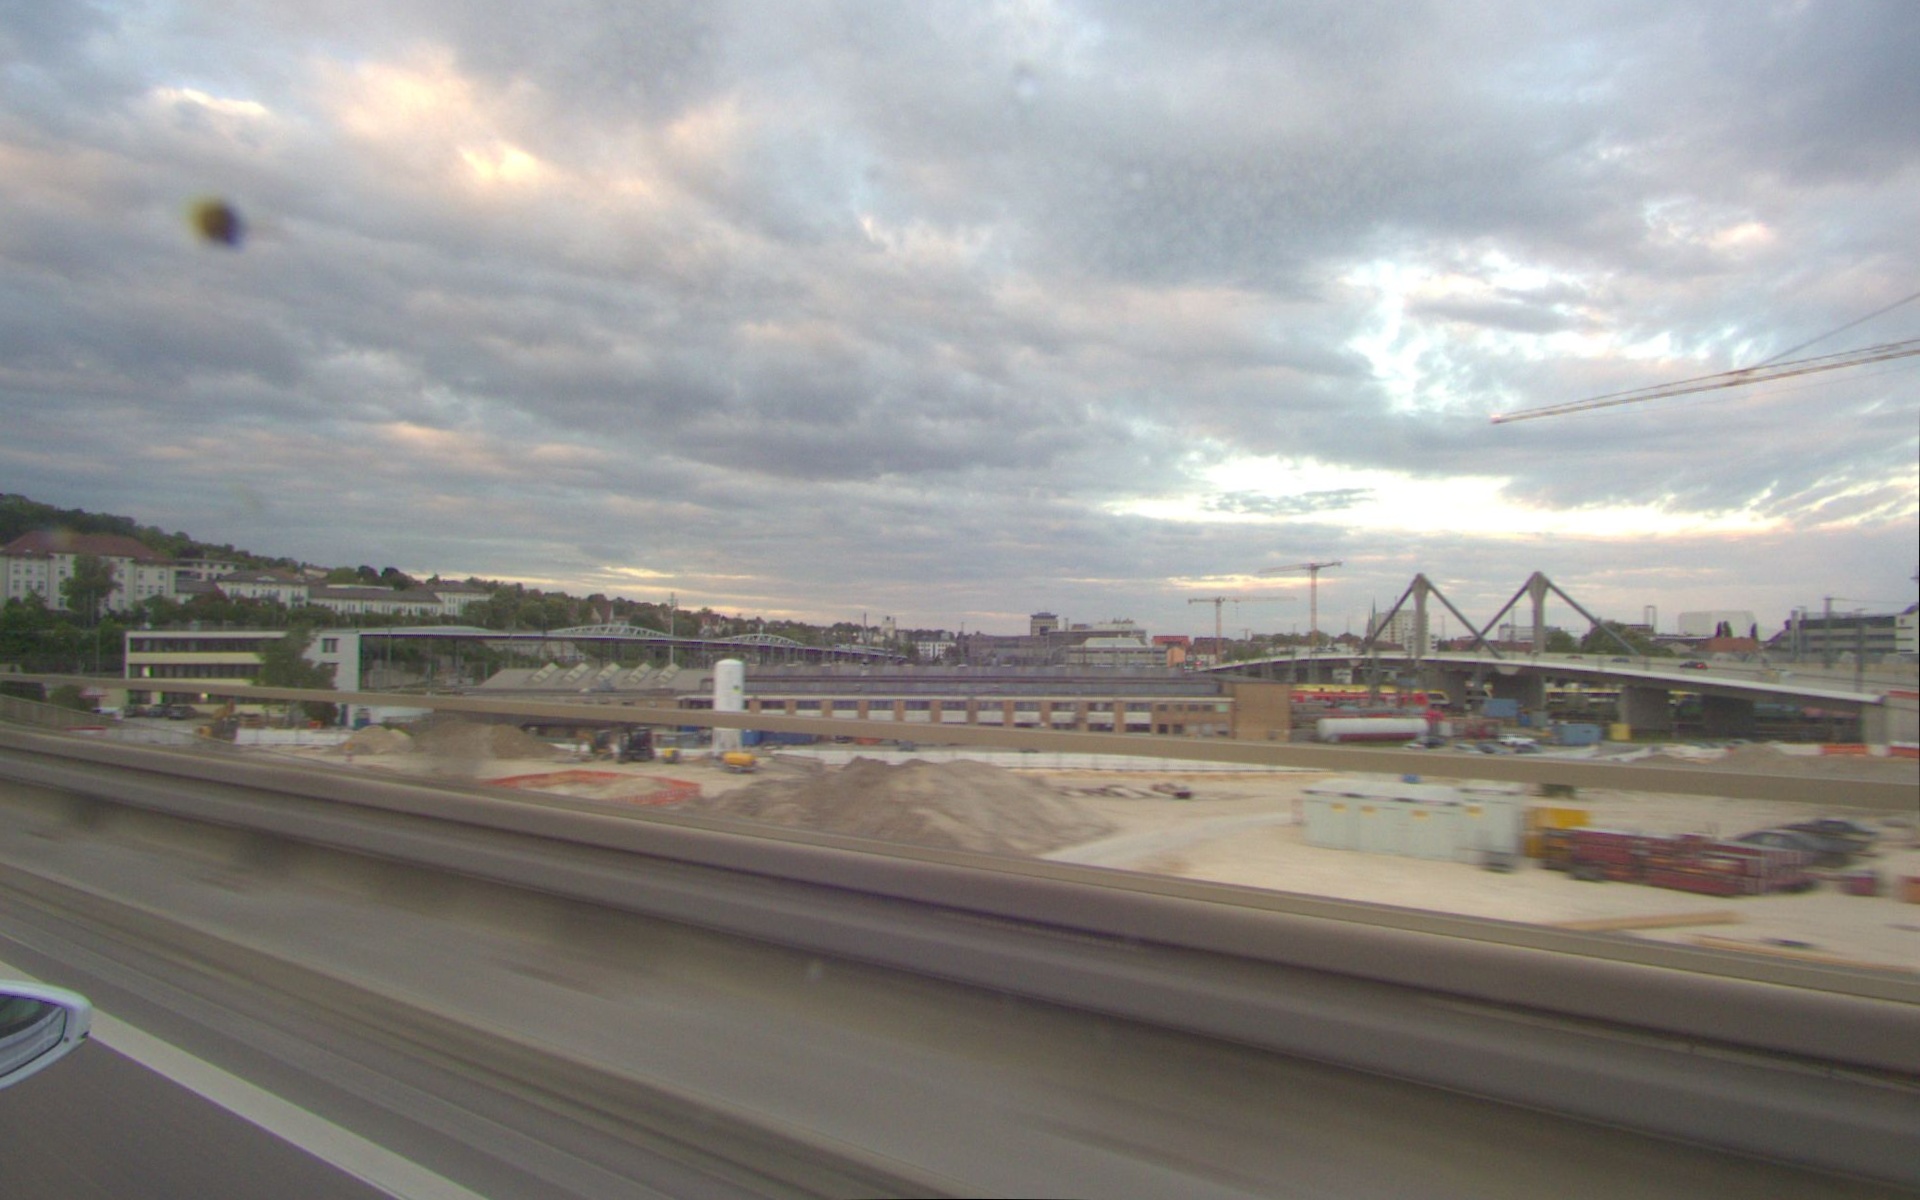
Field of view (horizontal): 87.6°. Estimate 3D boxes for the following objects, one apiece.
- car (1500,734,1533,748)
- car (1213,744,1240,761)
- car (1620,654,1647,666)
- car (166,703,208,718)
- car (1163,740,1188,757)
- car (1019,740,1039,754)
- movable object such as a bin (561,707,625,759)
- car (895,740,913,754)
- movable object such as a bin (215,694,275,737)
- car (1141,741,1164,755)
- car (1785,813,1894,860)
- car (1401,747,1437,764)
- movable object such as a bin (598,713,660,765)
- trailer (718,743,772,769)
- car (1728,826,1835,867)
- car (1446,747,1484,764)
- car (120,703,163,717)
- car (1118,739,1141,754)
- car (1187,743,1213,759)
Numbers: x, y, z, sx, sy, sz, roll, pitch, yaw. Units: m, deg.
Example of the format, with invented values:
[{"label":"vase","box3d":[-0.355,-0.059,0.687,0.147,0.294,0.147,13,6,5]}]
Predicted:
[{"label":"car","box3d":[71.389,18.064,128.380,3.618,1.593,1.441,5,-7,-10]},{"label":"car","box3d":[30.420,17.394,114.317,1.835,1.669,4.009,4,-7,-1]},{"label":"car","box3d":[120.089,10.744,178.560,1.743,1.762,3.998,3,0,-4]},{"label":"car","box3d":[-92.155,13.207,119.448,1.796,1.583,4.006,5,-6,-3]},{"label":"car","box3d":[24.808,17.091,115.308,1.835,1.733,4.009,4,-7,-1]},{"label":"car","box3d":[7.977,17.042,116.028,1.835,1.435,4.009,4,-7,-1]},{"label":"movable object such as a bin","box3d":[-33.263,12.135,91.052,2.733,4.356,4.964,1,-7,16]},{"label":"car","box3d":[-6.489,17.089,116.692,1.835,1.435,4.009,4,-7,-1]},{"label":"movable object such as a bin","box3d":[-80.153,12.957,112.293,4.868,4.356,2.787,1,-7,19]},{"label":"car","box3d":[22.161,17.067,115.284,1.835,1.435,4.009,4,-7,-1]},{"label":"car","box3d":[46.515,12.482,53.055,1.663,1.942,3.984,8,-8,-29]},{"label":"car","box3d":[52.431,17.755,114.387,1.835,1.539,4.349,0,-4,-5]},{"label":"movable object such as a bin","box3d":[-29.735,12.557,90.193,2.733,4.356,4.964,1,-7,16]},{"label":"trailer","box3d":[-17.823,12.949,82.999,3.780,1.823,1.999,1,-7,24]},{"label":"car","box3d":[40.344,12.112,49.246,1.509,1.457,3.781,8,-8,-29]},{"label":"car","box3d":[57.526,17.738,114.154,1.835,1.539,4.349,0,-4,-5]},{"label":"car","box3d":[-98.836,13.271,120.975,1.796,1.583,4.006,5,-6,-3]},{"label":"car","box3d":[19.529,16.887,115.552,1.835,1.435,4.009,4,-7,-1]},{"label":"car","box3d":[27.499,17.271,114.800,1.835,1.669,4.009,4,-7,-1]}]
